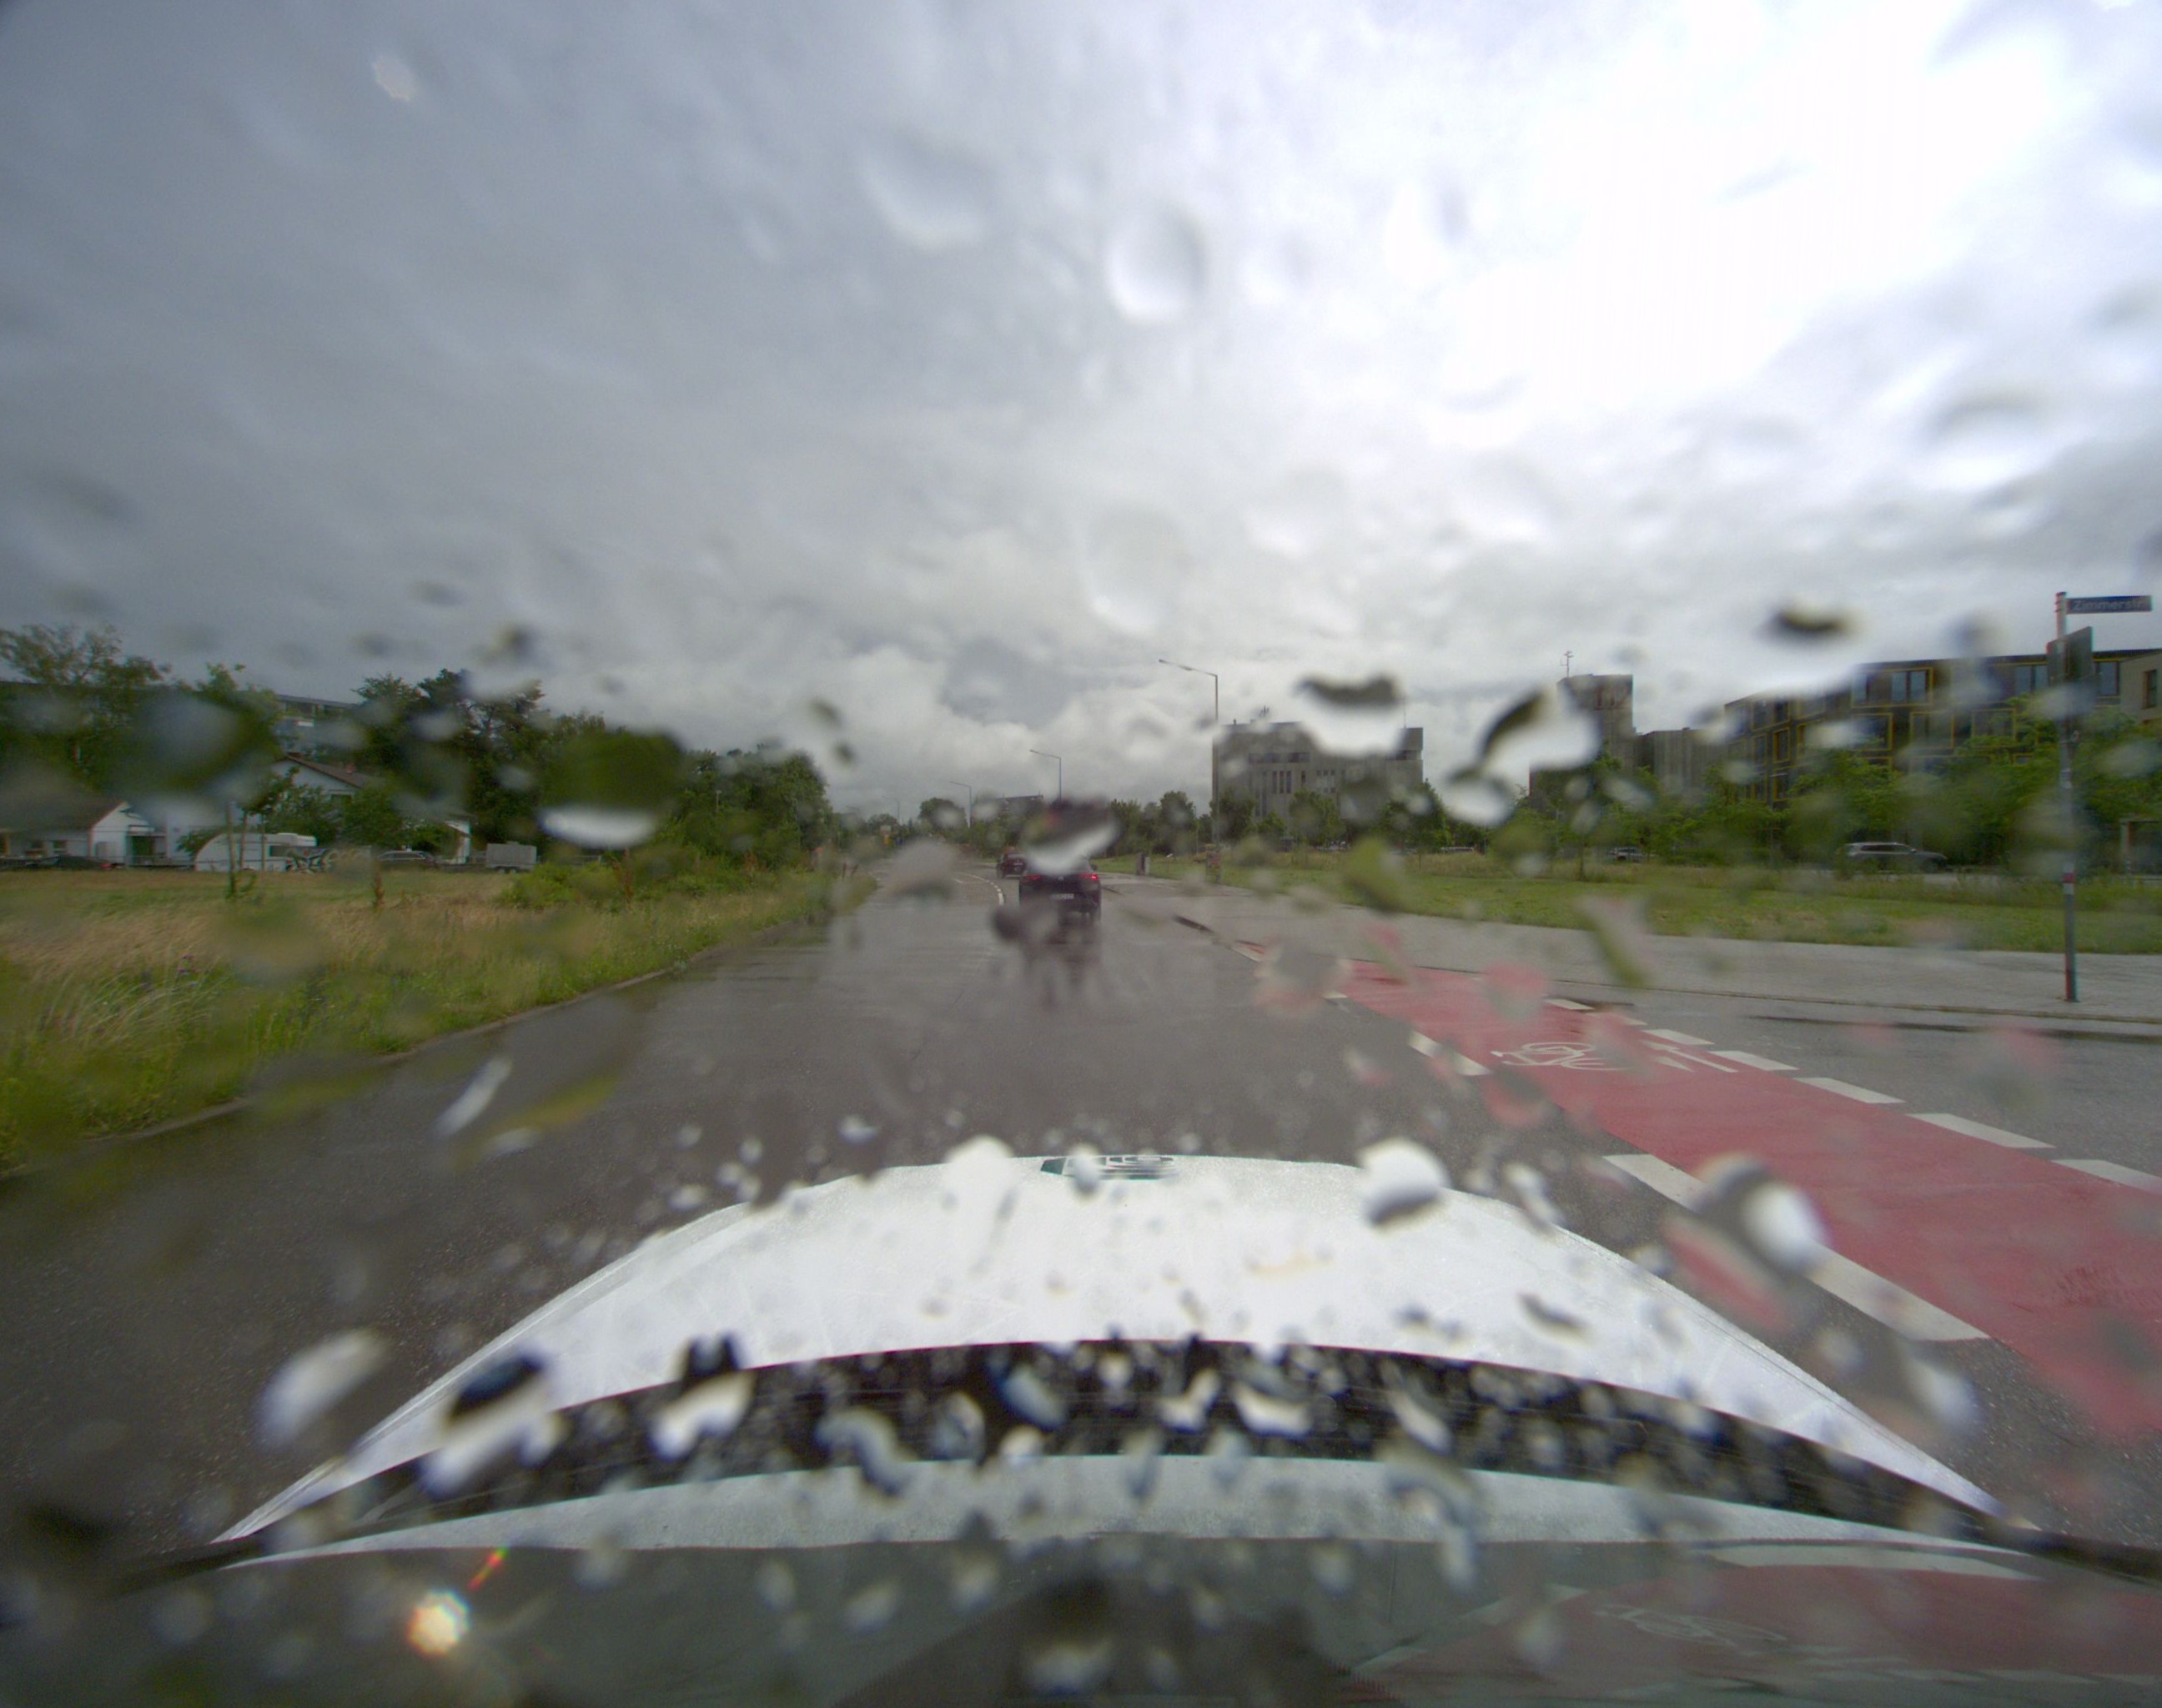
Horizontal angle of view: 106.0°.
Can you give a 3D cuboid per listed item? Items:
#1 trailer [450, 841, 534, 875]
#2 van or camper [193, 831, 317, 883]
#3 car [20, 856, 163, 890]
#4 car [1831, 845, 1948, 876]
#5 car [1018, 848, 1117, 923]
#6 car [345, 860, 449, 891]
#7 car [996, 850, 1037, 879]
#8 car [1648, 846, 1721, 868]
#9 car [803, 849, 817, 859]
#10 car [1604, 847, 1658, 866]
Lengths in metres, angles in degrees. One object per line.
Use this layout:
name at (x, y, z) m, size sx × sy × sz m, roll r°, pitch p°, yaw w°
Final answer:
trailer at (-38.301, 0.291, 53.055) m, size 4.120 × 2.089 × 1.829 m, roll 1°, pitch -1°, yaw -26°
van or camper at (-48.395, 0.174, 47.866) m, size 4.520 × 2.945 × 2.465 m, roll 0°, pitch 0°, yaw -23°
car at (-54.007, 1.016, 44.581) m, size 4.524 × 1.775 × 1.985 m, roll 0°, pitch 0°, yaw -23°
car at (43.658, 0.364, 44.074) m, size 4.170 × 1.557 × 1.675 m, roll -1°, pitch 0°, yaw 19°
car at (-0.425, 0.641, 18.893) m, size 1.984 × 1.520 × 3.993 m, roll -1°, pitch 0°, yaw -5°
car at (-42.309, 1.287, 50.520) m, size 4.524 × 1.775 × 1.985 m, roll 0°, pitch 0°, yaw -23°
car at (-3.562, 0.565, 44.648) m, size 1.841 × 1.442 × 3.987 m, roll -2°, pitch 0°, yaw -10°
car at (50.385, 0.231, 68.082) m, size 4.505 × 1.762 × 2.010 m, roll 0°, pitch 0°, yaw 19°
car at (-47.897, -0.006, 143.938) m, size 1.851 × 1.641 × 3.981 m, roll 0°, pitch 0°, yaw -27°
car at (52.928, 0.224, 78.432) m, size 3.954 × 1.720 × 1.778 m, roll 0°, pitch 0°, yaw 19°
